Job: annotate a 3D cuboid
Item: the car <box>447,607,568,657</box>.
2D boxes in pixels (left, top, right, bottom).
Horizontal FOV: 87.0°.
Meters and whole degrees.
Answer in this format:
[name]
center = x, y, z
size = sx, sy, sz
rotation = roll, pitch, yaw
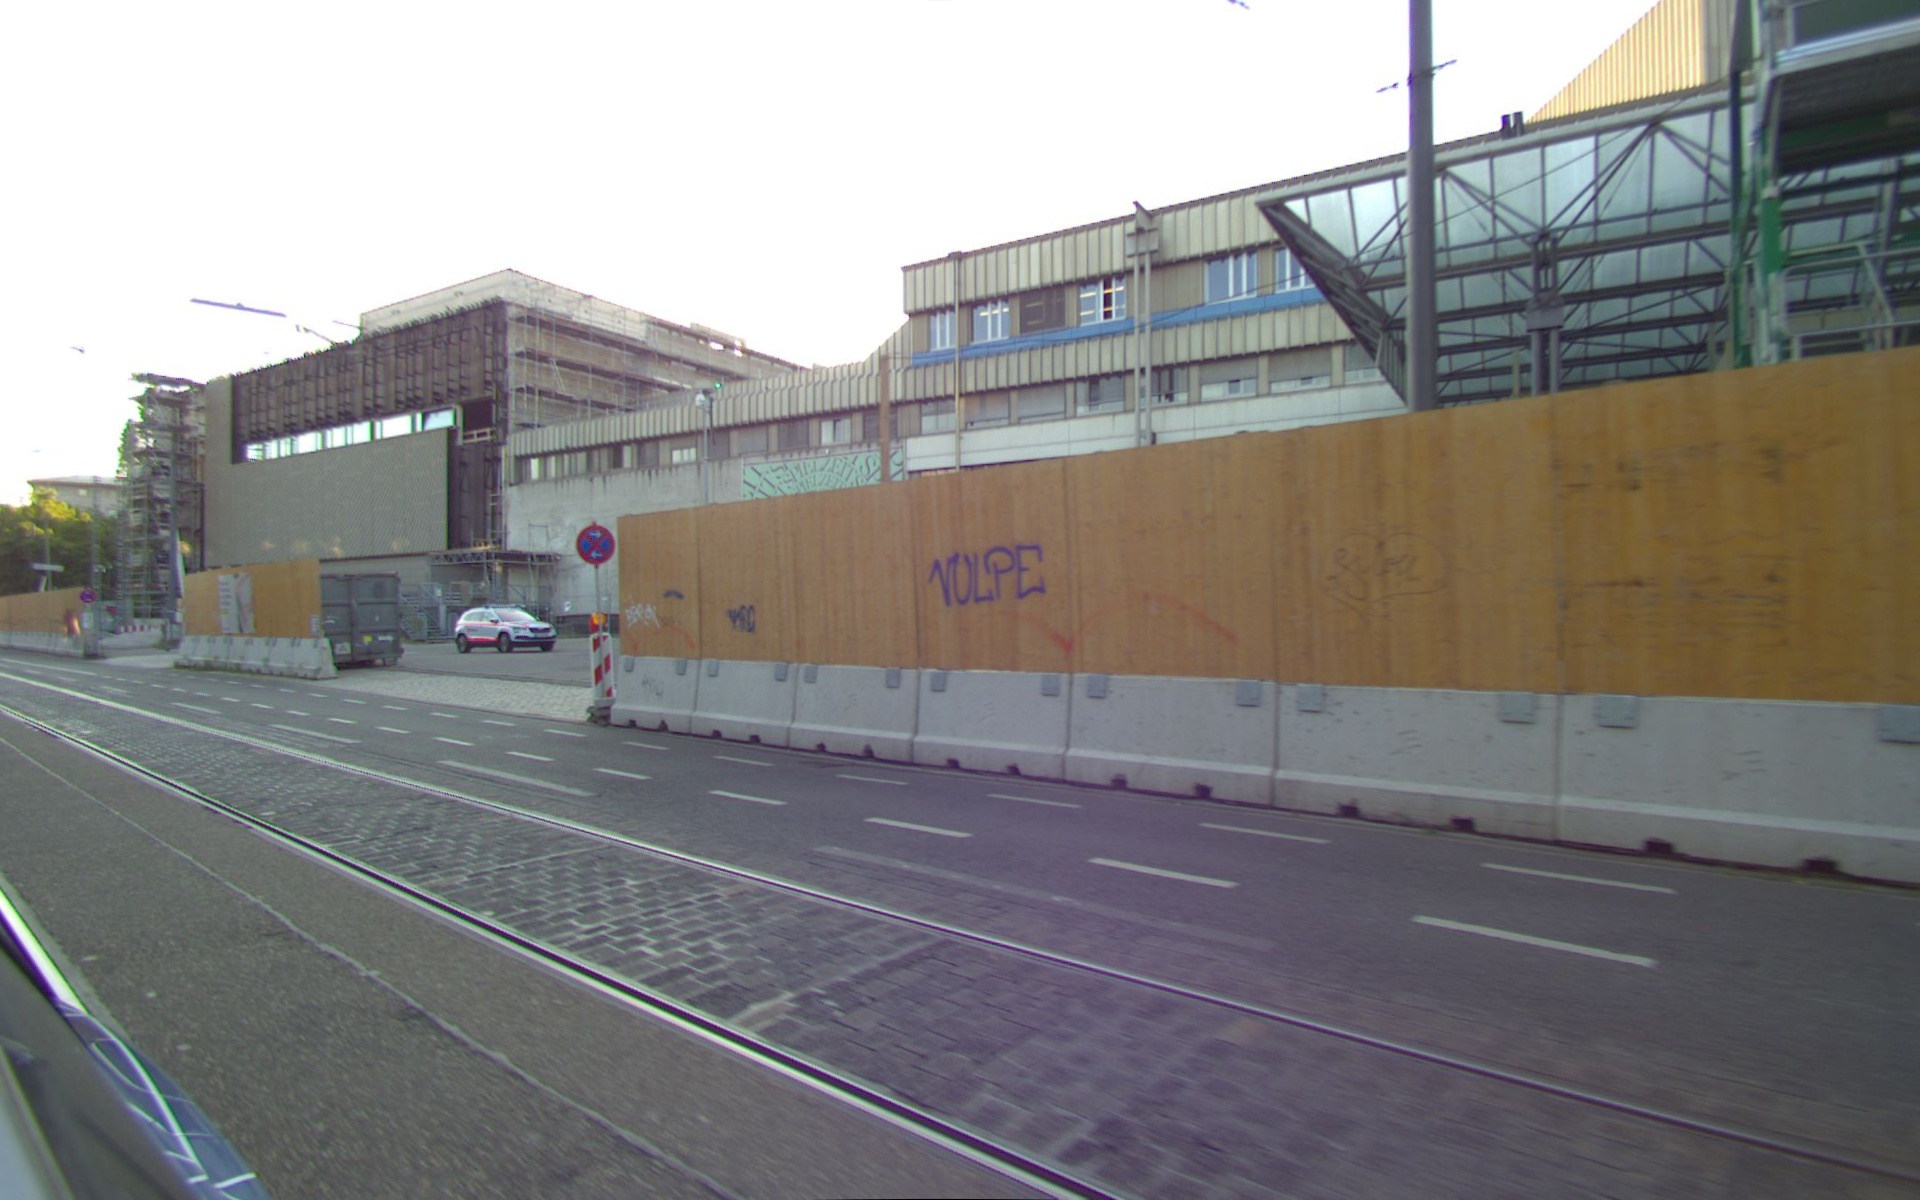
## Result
[car]
center = -16.201, 1.115, 36.156
size = 4.267, 1.676, 1.977
rotation = -1, -1, 33
